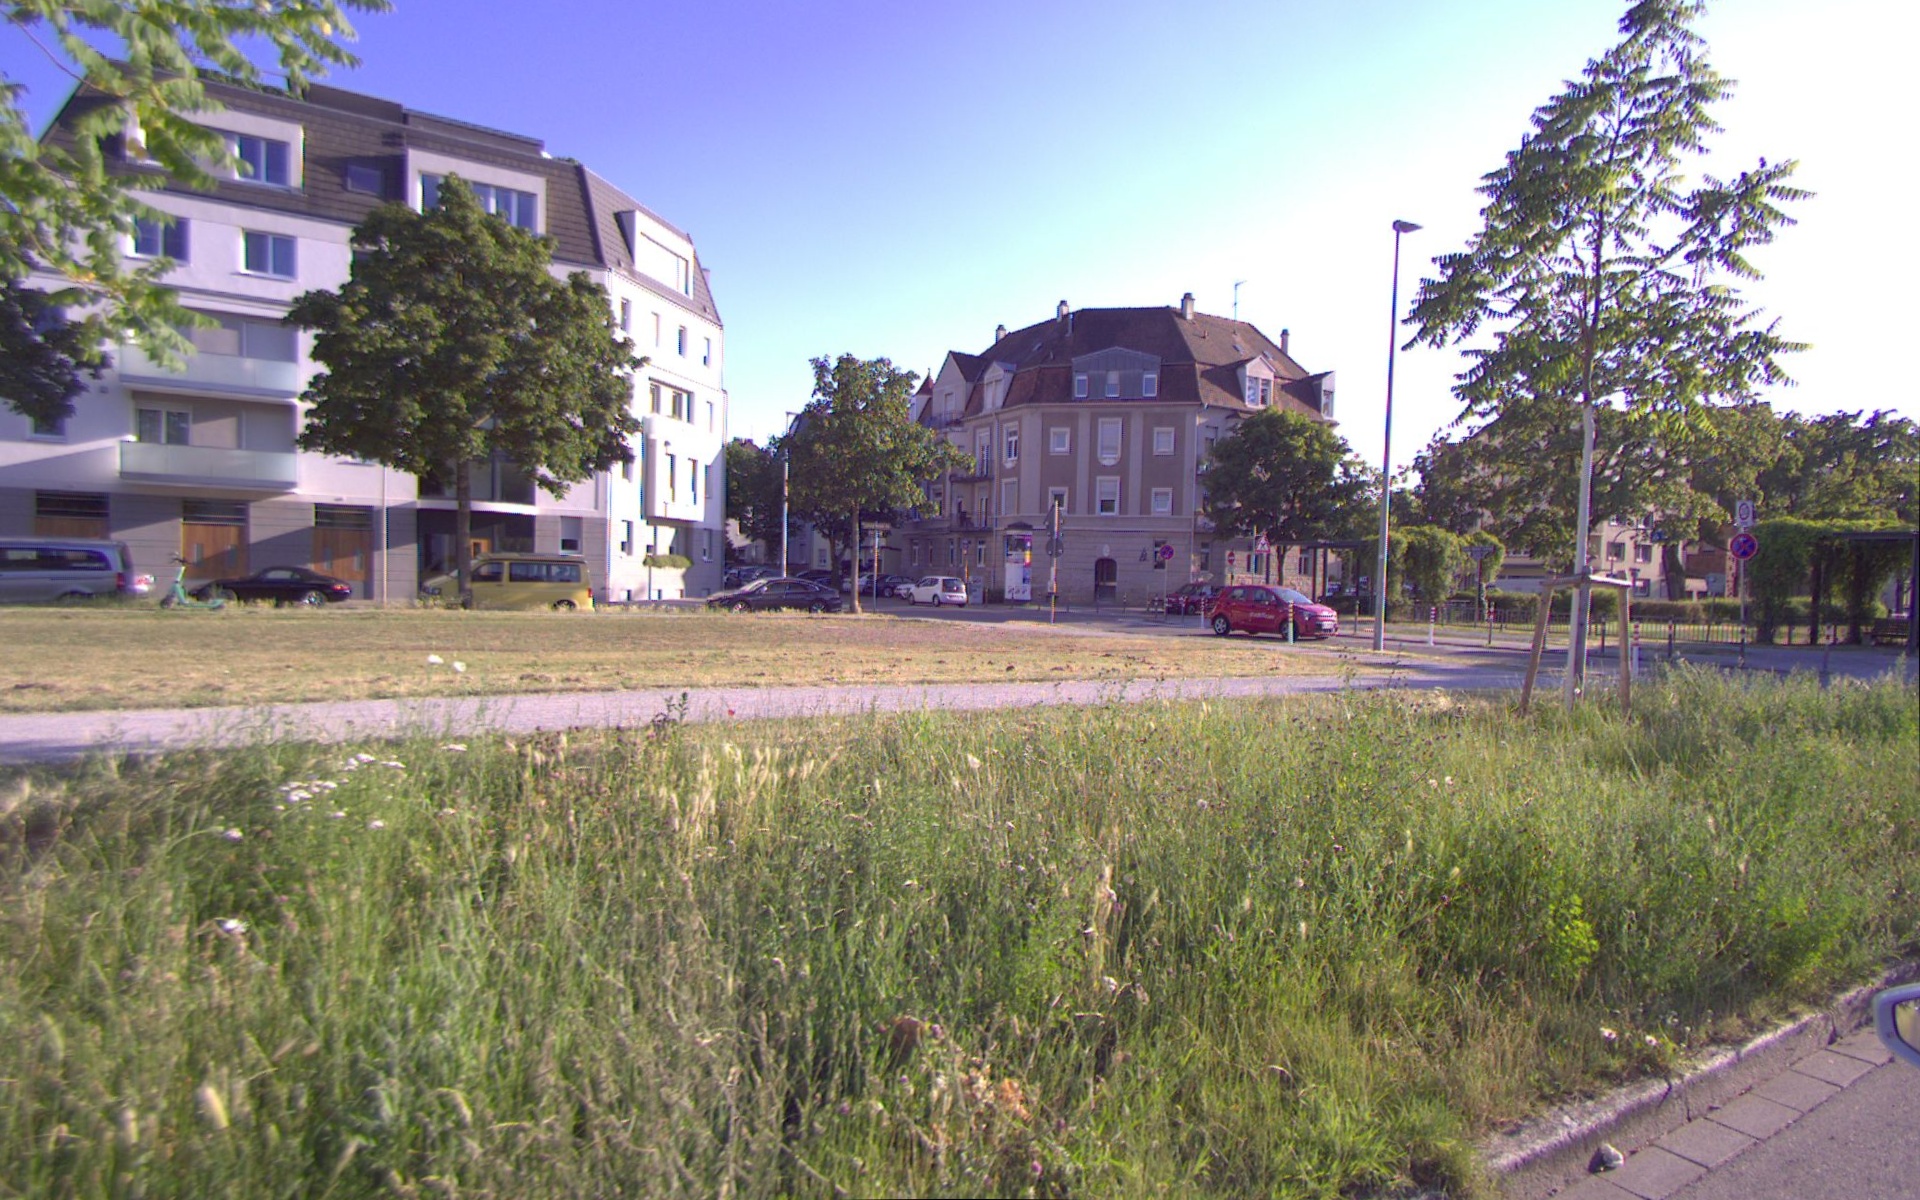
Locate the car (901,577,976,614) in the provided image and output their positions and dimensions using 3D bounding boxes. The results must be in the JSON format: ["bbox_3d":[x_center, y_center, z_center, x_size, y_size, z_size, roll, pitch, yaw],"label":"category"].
[{"bbox_3d":[-1.098,-0.182,49.627,1.979,1.617,3.870,2,-3,-33],"label":"car"}]

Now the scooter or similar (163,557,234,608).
[{"bbox_3d":[-17.491,-0.399,23.103,1.286,1.142,0.389,1,3,-38],"label":"scooter or similar"}]

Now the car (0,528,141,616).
[{"bbox_3d":[-23.689,-0.689,24.660,5.316,2.027,2.006,2,-3,-34],"label":"car"}]

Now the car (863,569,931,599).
[{"bbox_3d":[-3.953,-0.974,62.728,3.921,1.739,1.591,1,2,-29],"label":"car"}]

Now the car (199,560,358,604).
[{"bbox_3d":[-21.962,-0.573,32.574,4.012,1.295,1.985,1,2,-28],"label":"car"}]

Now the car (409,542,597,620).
[{"bbox_3d":[-13.745,-0.502,30.315,4.993,2.084,1.984,2,-2,-30],"label":"car"}]

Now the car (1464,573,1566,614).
[{"bbox_3d":[39.691,-0.498,71.967,6.202,2.757,1.999,2,2,30],"label":"car"}]

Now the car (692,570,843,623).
[{"bbox_3d":[-6.661,-0.073,34.872,4.769,1.658,1.975,2,-2,-29],"label":"car"}]

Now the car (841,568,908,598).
[{"bbox_3d":[-5.515,-1.073,64.785,4.030,1.696,1.688,2,-2,-31],"label":"car"}]

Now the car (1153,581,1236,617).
[{"bbox_3d":[12.272,-0.012,52.476,4.242,1.729,1.636,2,-2,-30],"label":"car"}]

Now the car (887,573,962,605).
[{"bbox_3d":[-2.068,-0.596,58.515,4.027,1.658,1.689,2,-2,-29],"label":"car"}]

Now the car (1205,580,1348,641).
[{"bbox_3d":[8.861,0.243,28.362,1.668,1.501,3.560,-2,3,-36],"label":"car"}]
